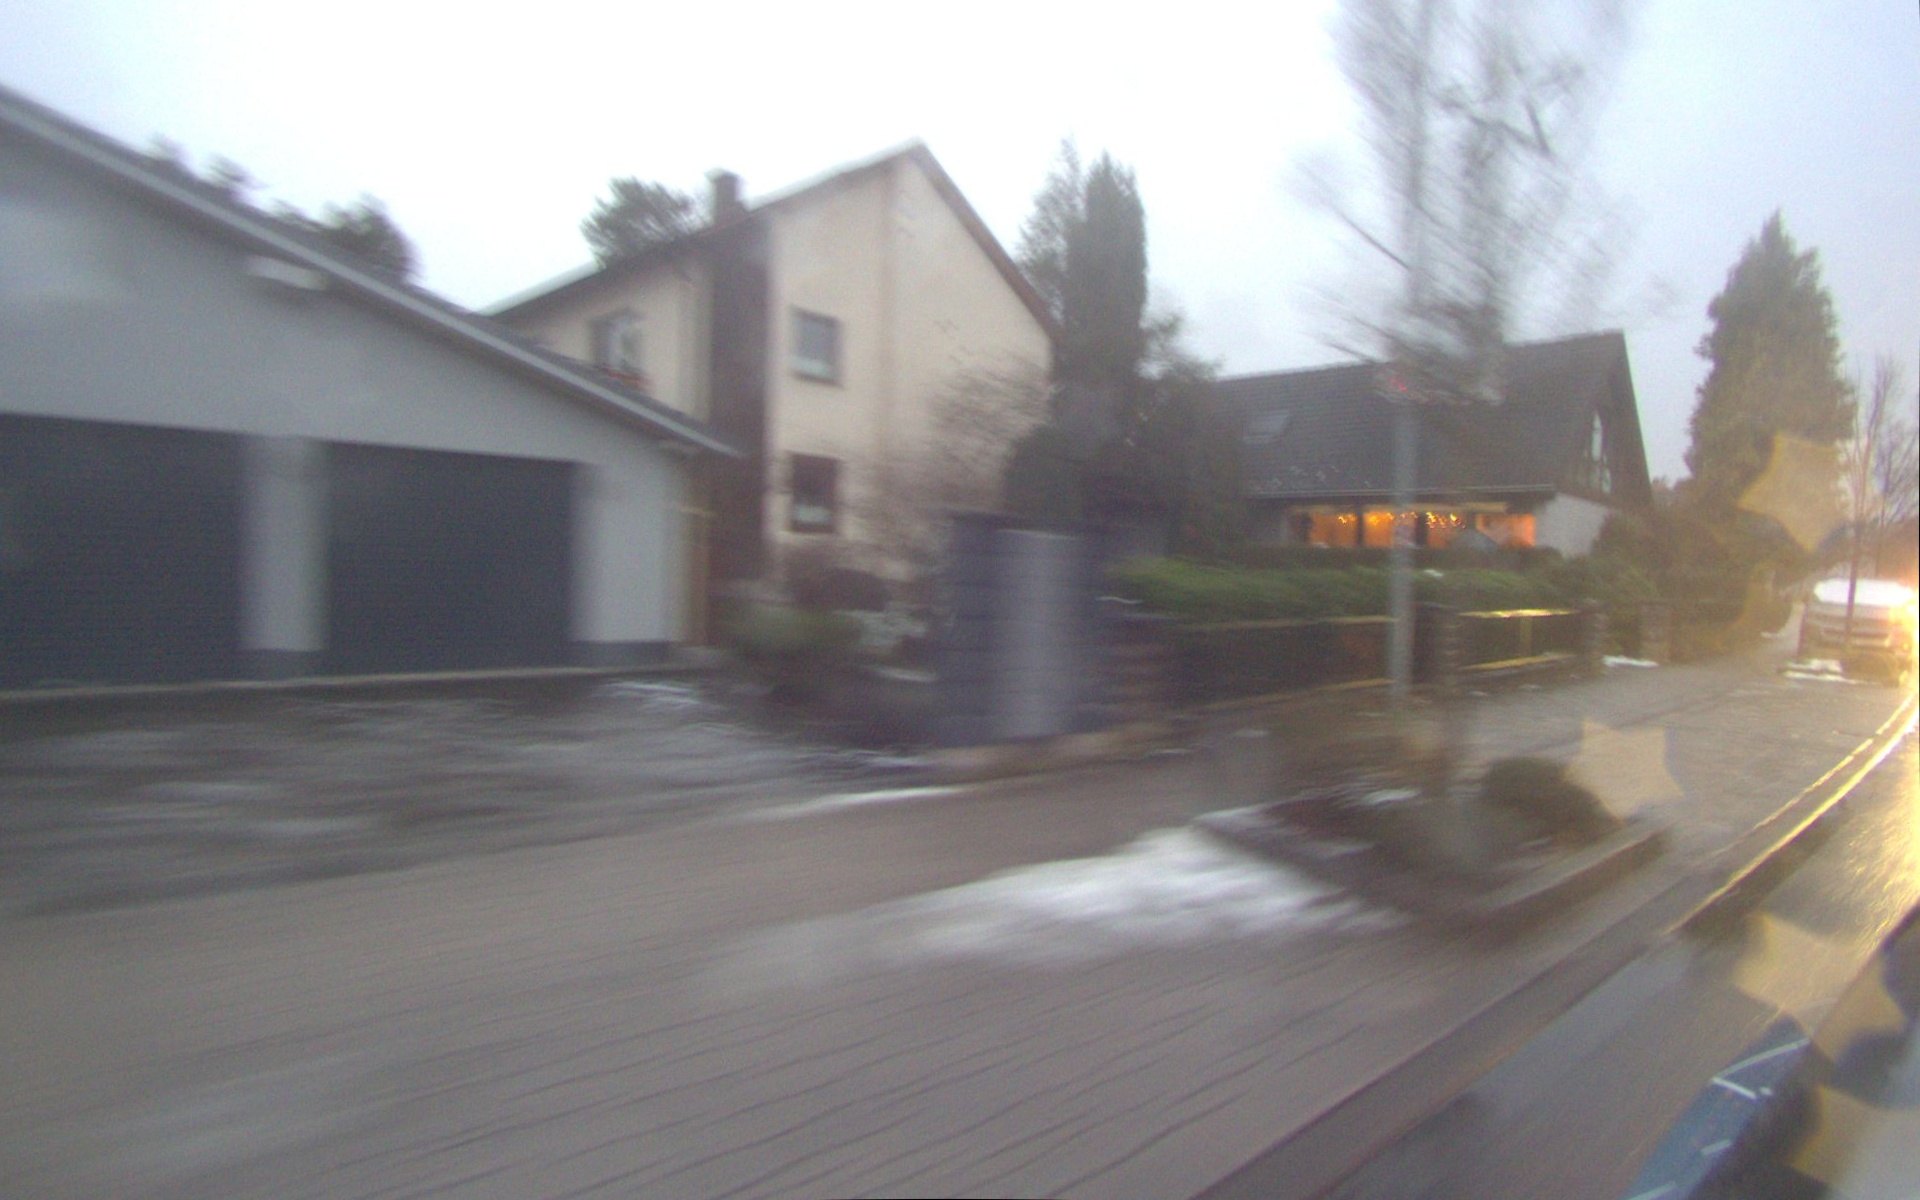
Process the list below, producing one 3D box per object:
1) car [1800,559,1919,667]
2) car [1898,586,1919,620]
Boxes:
[{"bbox_3d":[20.424,0.209,22.704,1.978,2.037,5.656,6,5,43],"label":"car"},{"bbox_3d":[50.872,0.179,53.007,1.988,1.690,3.950,3,3,35],"label":"car"}]
